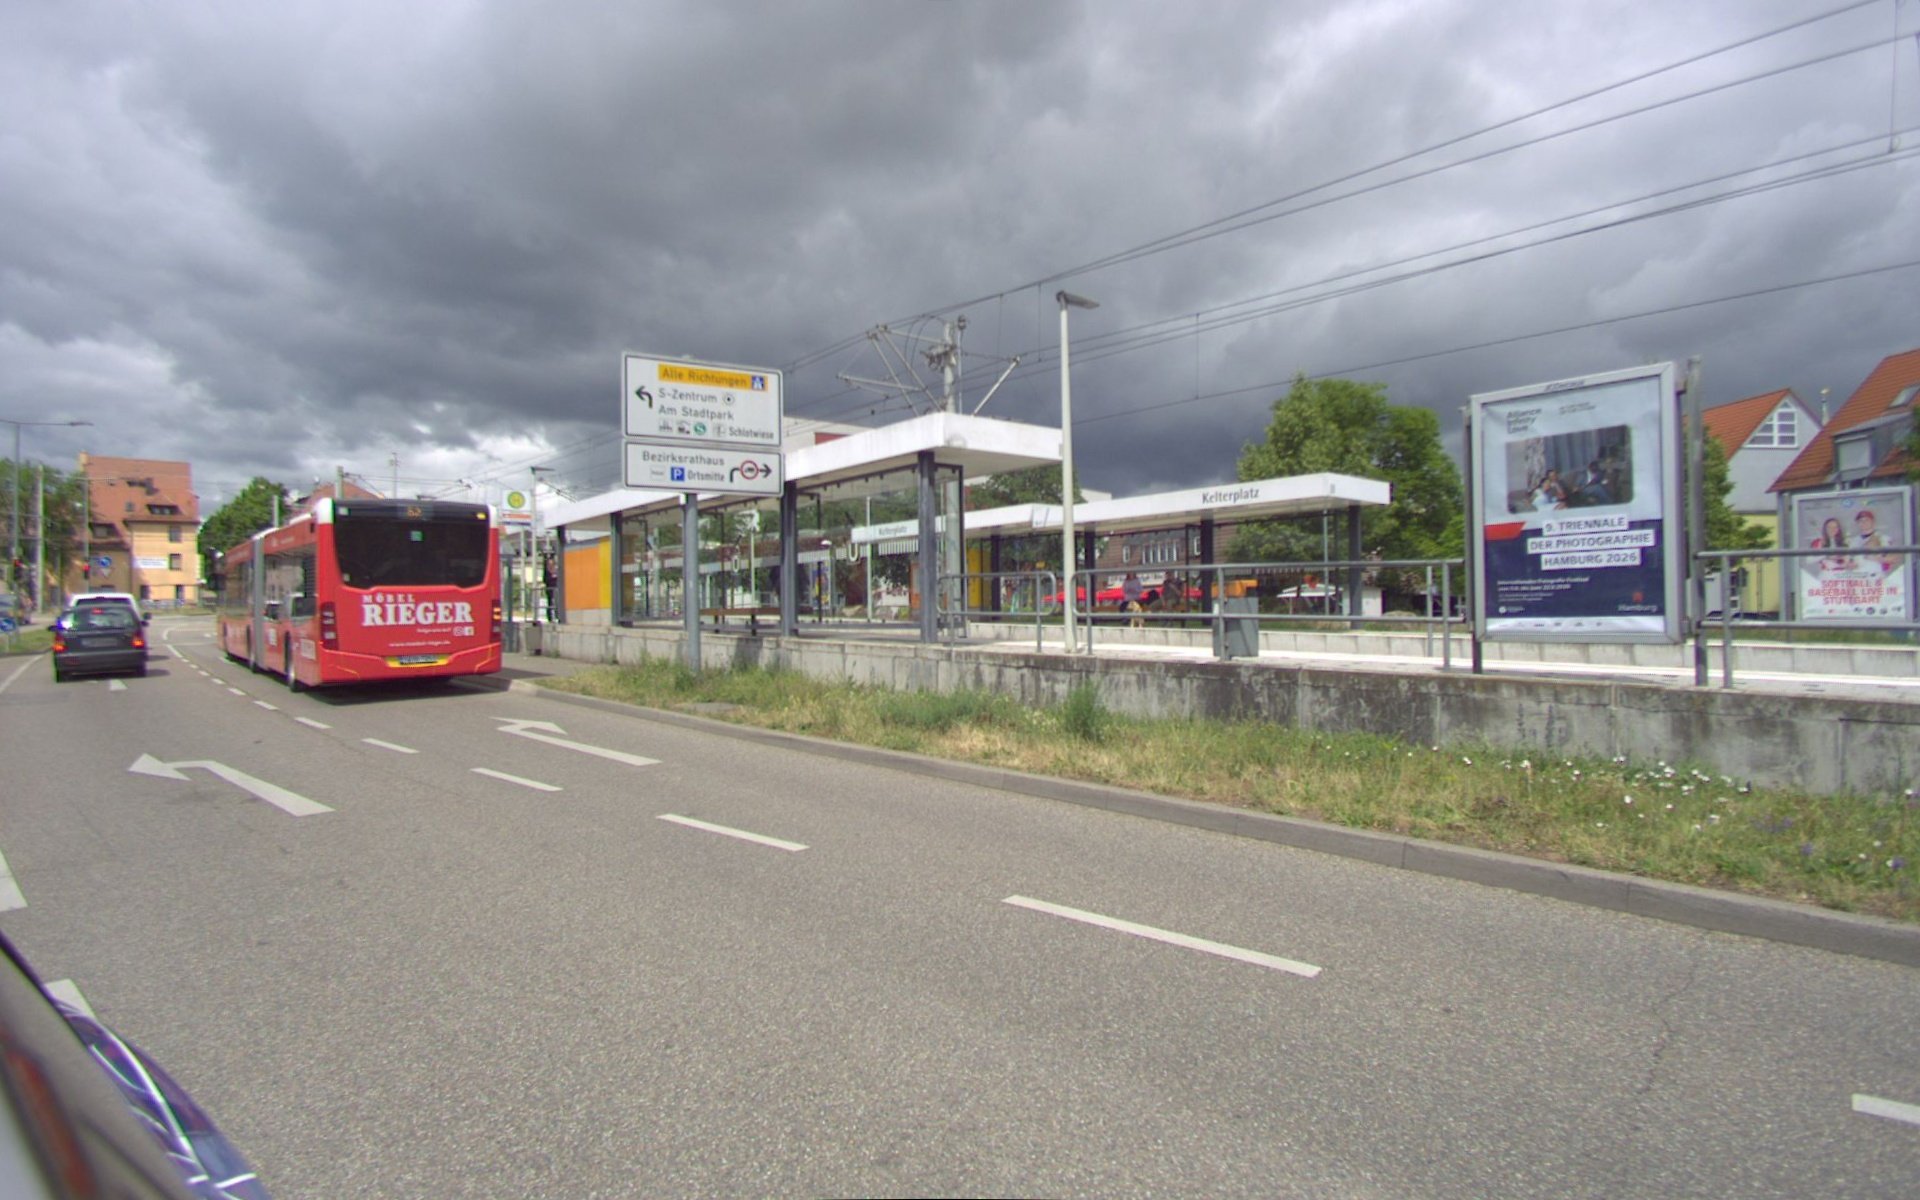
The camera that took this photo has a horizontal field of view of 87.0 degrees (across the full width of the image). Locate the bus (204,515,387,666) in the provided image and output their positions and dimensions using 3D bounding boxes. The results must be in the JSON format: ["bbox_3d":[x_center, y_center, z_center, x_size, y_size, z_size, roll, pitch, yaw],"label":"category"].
[{"bbox_3d":[-17.064,-0.024,25.594,2.692,3.133,9.718,0,-2,-40],"label":"bus"}]

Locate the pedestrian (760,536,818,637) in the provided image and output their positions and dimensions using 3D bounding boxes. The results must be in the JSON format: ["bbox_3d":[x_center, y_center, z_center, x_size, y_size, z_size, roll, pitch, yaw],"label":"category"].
[{"bbox_3d":[-2.928,-0.225,17.286,0.679,1.669,0.701,0,-2,-41],"label":"pedestrian"}]

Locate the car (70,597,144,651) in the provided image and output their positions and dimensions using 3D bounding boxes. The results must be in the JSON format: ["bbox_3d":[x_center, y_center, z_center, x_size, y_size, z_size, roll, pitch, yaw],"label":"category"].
[{"bbox_3d":[-28.409,0.778,33.801,1.677,1.661,4.087,-1,0,-38],"label":"car"}]

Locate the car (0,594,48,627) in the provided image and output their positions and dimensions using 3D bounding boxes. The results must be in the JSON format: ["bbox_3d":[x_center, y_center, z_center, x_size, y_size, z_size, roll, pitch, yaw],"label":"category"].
[{"bbox_3d":[-50.602,0.583,54.577,1.968,1.662,4.427,0,-2,-40],"label":"car"}]

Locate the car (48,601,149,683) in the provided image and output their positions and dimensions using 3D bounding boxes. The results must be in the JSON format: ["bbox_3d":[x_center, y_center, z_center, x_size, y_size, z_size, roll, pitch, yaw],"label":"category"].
[{"bbox_3d":[-18.544,0.832,21.838,1.511,1.562,3.738,-2,1,-40],"label":"car"}]

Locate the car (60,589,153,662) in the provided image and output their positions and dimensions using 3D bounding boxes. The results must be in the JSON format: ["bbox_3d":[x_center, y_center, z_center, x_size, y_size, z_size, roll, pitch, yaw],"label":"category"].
[{"bbox_3d":[-23.211,0.752,27.463,1.740,1.675,4.510,1,-5,-42],"label":"car"}]

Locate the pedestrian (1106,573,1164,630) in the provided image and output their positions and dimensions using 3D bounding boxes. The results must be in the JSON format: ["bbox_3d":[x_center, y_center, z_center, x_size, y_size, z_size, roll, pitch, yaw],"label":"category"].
[{"bbox_3d":[4.116,0.046,23.823,0.747,1.302,1.114,0,-1,-39],"label":"pedestrian"}]

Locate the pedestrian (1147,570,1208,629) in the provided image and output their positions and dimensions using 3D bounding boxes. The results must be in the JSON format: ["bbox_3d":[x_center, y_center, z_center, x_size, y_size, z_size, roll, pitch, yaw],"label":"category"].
[{"bbox_3d":[4.912,0.001,22.907,0.747,1.302,1.114,0,-1,-39],"label":"pedestrian"}]

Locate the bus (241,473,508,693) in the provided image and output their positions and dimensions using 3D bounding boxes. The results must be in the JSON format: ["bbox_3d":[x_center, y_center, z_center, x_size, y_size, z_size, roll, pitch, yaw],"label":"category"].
[{"bbox_3d":[-11.035,-0.087,18.490,2.692,3.093,8.977,0,-2,-40],"label":"bus"}]
